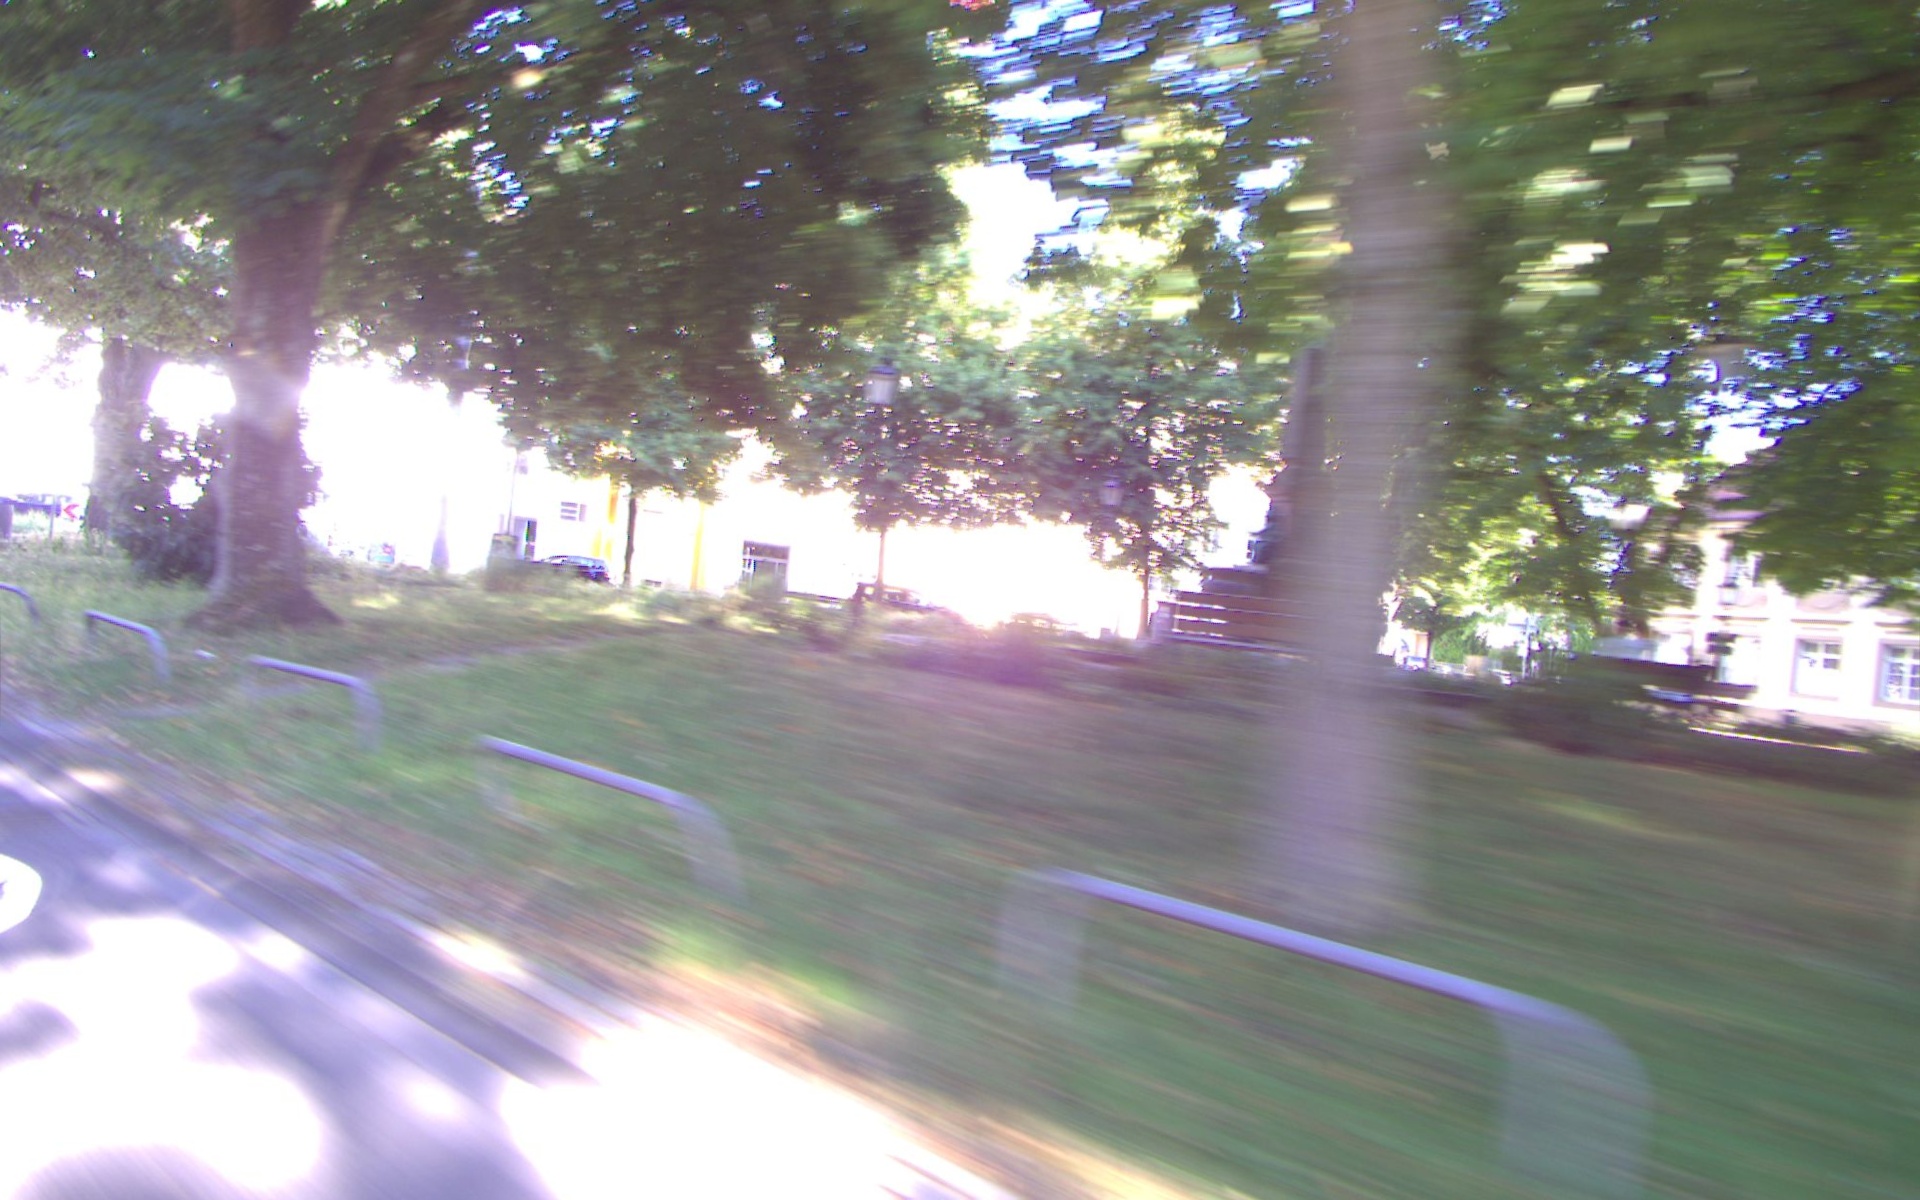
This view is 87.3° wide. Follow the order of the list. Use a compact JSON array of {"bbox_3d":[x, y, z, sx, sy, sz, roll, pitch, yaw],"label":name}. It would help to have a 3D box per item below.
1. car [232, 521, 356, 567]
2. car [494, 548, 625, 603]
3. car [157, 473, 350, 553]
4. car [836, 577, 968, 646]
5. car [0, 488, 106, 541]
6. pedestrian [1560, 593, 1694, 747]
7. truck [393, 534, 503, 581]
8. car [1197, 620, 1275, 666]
[{"bbox_3d":[-29.585,-2.468,44.836,4.032,1.470,1.994,7,0,-14],"label":"car"},{"bbox_3d":[-14.647,-0.868,37.022,4.003,1.462,1.996,7,0,-10],"label":"car"},{"bbox_3d":[-23.508,-2.847,33.725,4.841,1.877,1.988,7,0,-25],"label":"car"},{"bbox_3d":[-1.956,0.379,33.326,3.935,1.815,1.996,6,-1,-13],"label":"car"},{"bbox_3d":[-39.134,-3.678,42.455,4.143,1.770,1.994,7,0,-14],"label":"car"},{"bbox_3d":[6.280,0.636,9.514,0.669,1.335,0.695,6,2,4],"label":"pedestrian"},{"bbox_3d":[-23.618,-1.951,46.524,4.032,1.605,1.994,7,0,-14],"label":"truck"},{"bbox_3d":[14.375,2.219,52.699,1.969,1.945,4.058,7,0,-16],"label":"car"}]
